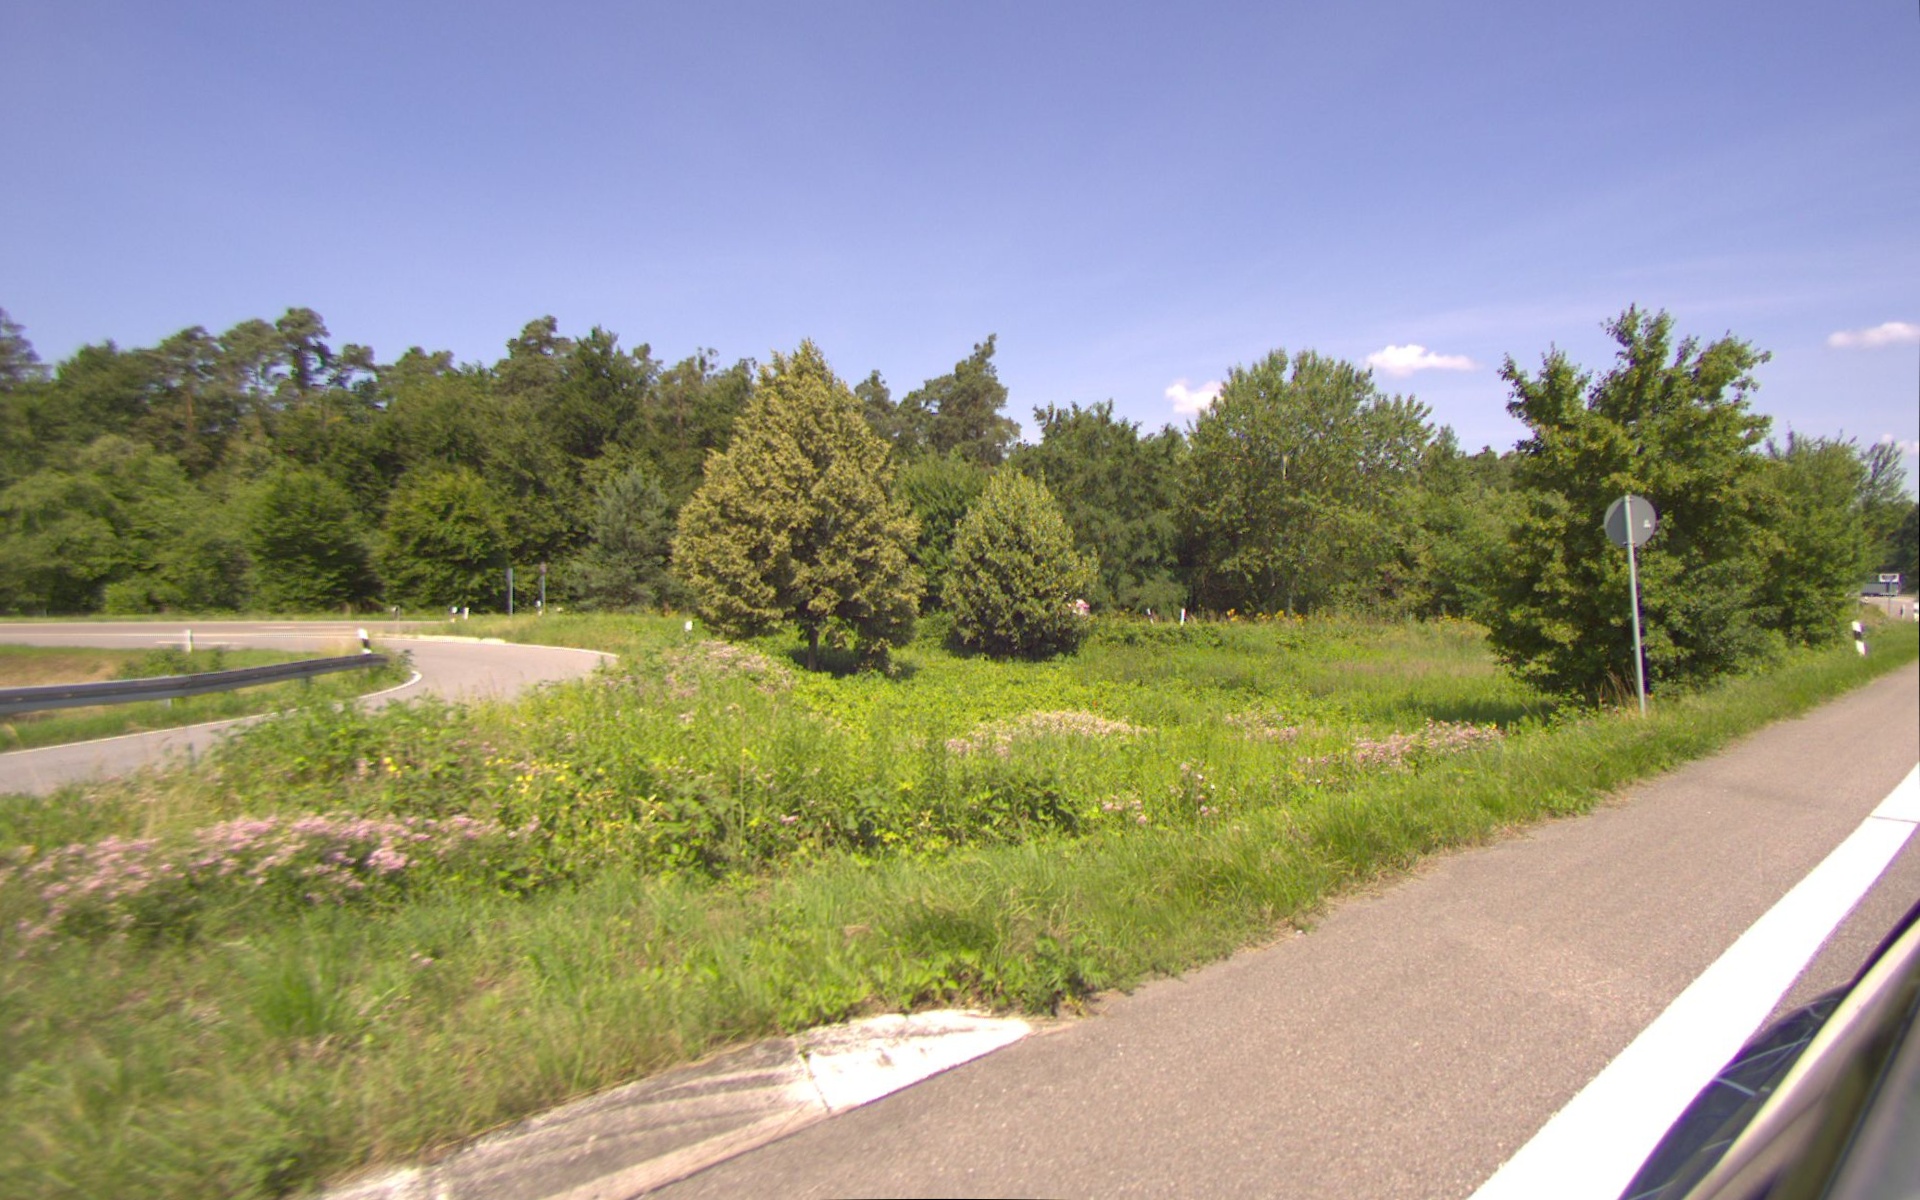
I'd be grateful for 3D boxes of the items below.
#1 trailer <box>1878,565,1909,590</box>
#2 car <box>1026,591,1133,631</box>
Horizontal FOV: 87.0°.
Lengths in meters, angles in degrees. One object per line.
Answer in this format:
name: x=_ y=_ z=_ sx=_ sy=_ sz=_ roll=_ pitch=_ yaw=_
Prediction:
trailer: x=164.476 y=-3.941 z=178.419 sx=2.661 sy=4.240 sz=13.876 roll=0 pitch=1 yaw=37
car: x=5.373 y=0.497 z=45.865 sx=4.578 sy=1.687 sz=1.899 roll=-1 pitch=-1 yaw=1
